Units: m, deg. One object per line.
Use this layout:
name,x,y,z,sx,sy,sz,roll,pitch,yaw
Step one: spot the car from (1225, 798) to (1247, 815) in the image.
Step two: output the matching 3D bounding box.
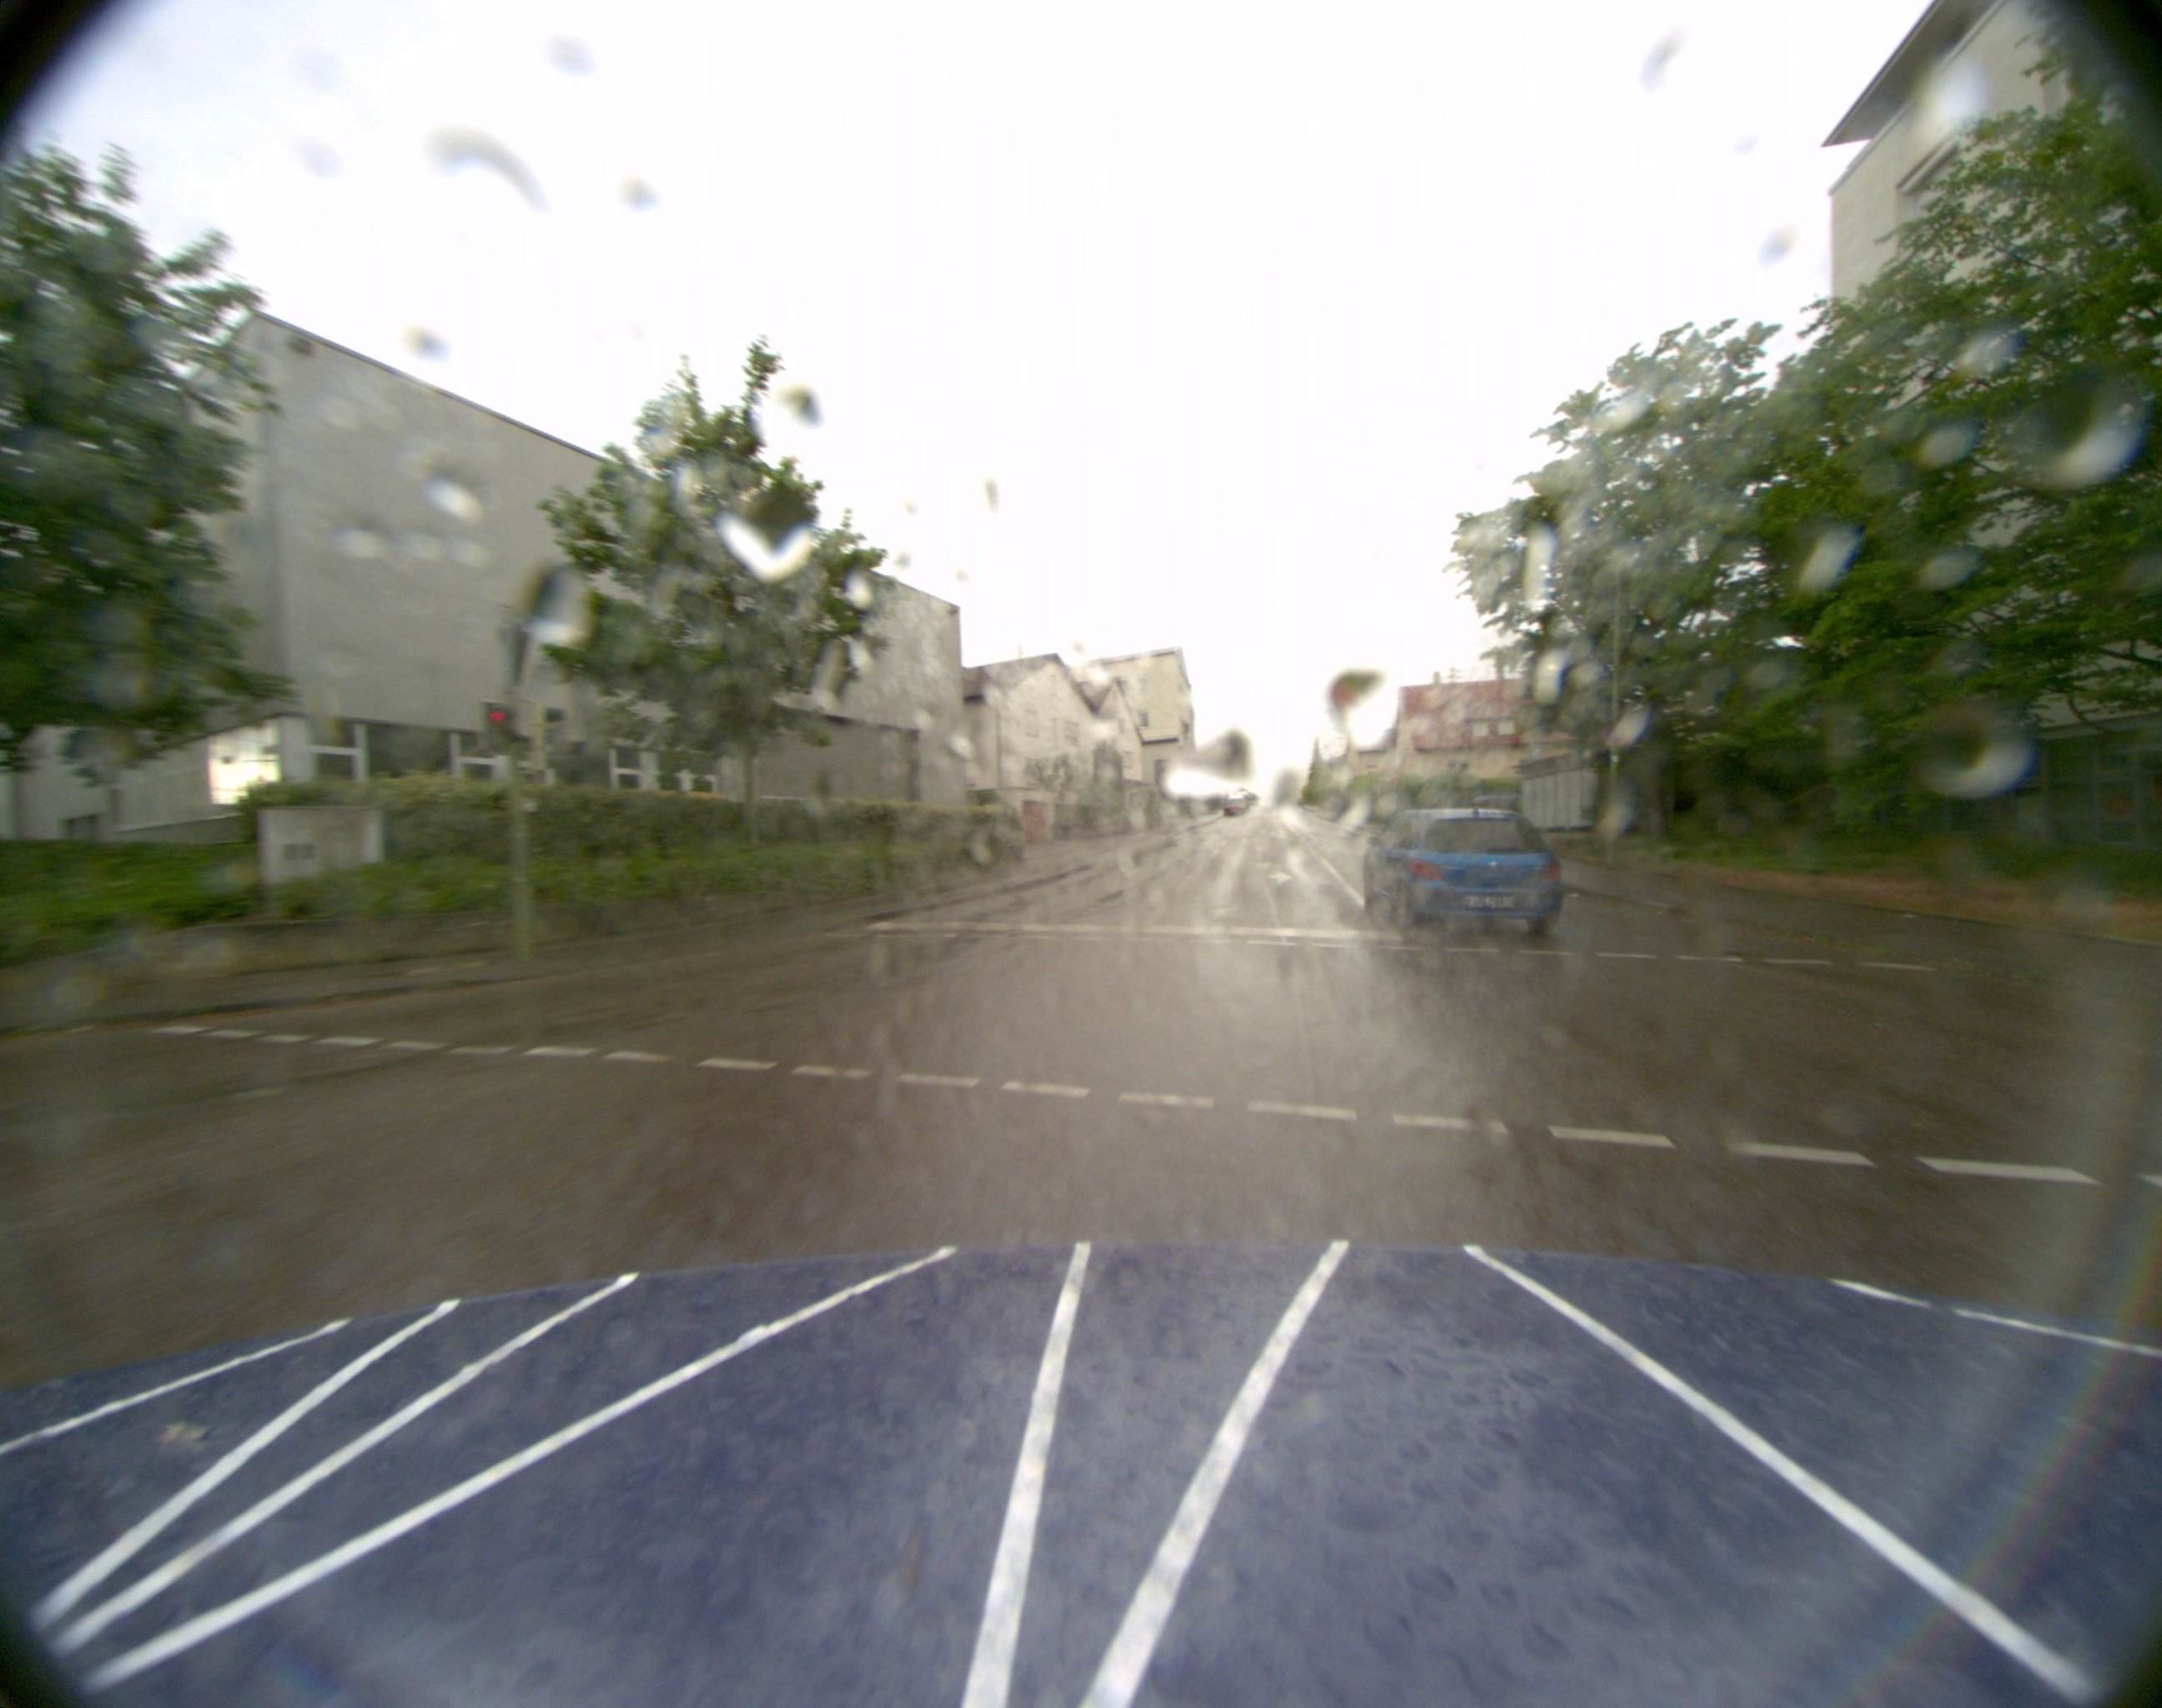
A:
car,15.156,-4.689,74.239,1.846,1.515,4.002,-1,4,15

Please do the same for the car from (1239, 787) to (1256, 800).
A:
car,21.515,-7.804,98.015,1.846,1.515,4.002,-1,4,15

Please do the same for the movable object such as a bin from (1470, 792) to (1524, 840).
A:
movable object such as a bin,12.482,-1.150,22.832,1.055,1.290,1.202,-6,2,14

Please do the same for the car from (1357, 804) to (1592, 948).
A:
car,4.986,0.128,10.274,1.770,1.438,4.000,-1,5,11

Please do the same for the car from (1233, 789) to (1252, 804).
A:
car,18.419,-6.536,86.383,1.846,1.515,4.002,-1,4,15

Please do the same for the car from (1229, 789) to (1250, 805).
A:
car,16.563,-5.968,79.191,1.846,1.515,4.002,-1,4,15
